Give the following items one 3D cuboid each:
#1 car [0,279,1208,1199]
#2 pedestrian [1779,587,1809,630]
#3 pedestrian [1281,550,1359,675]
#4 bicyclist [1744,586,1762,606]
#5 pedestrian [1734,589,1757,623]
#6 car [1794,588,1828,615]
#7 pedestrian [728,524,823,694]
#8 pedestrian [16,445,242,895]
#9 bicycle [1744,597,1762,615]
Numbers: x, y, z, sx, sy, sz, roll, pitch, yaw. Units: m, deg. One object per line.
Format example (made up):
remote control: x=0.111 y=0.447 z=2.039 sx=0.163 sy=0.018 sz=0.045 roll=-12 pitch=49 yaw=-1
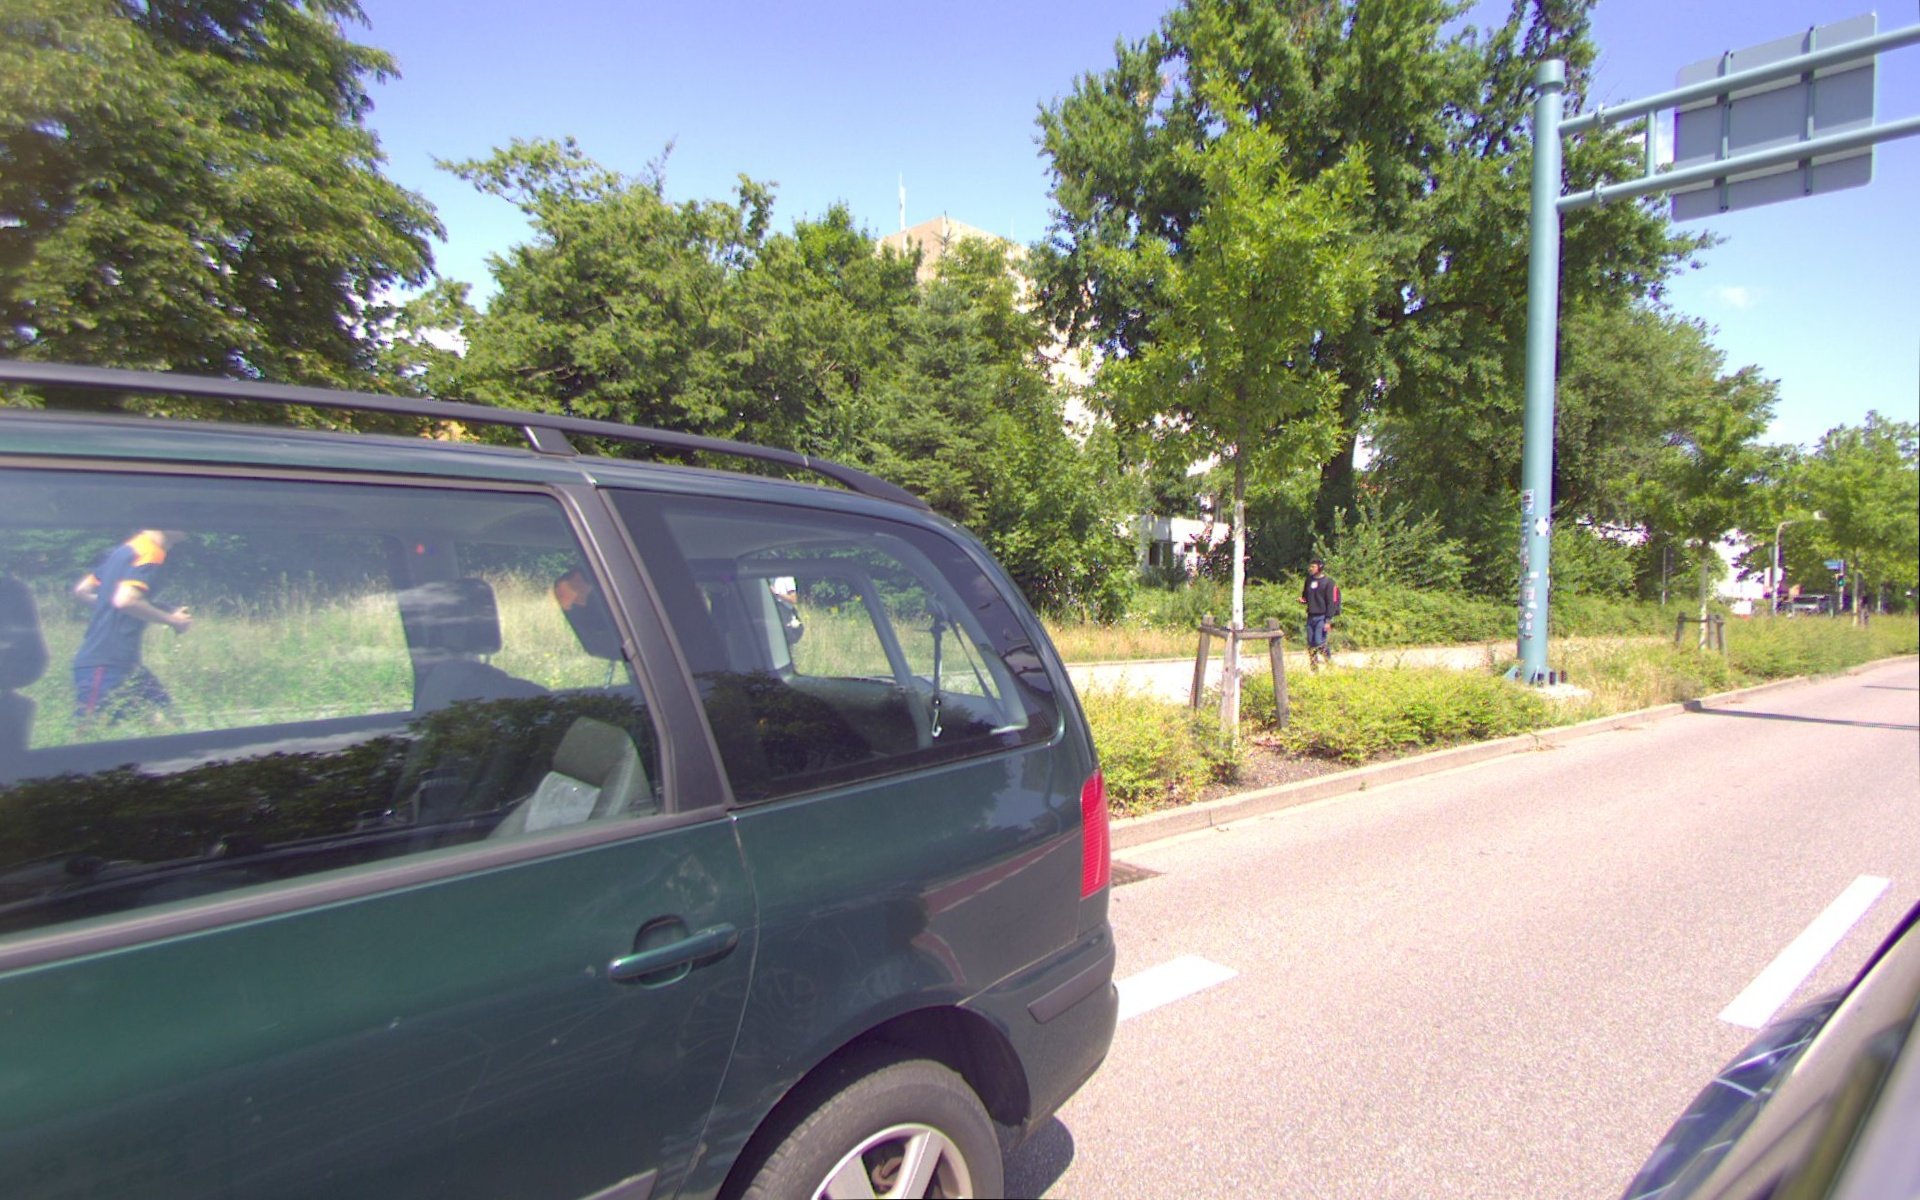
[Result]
car: x=-1.669 y=0.560 z=1.518 sx=4.311 sy=1.756 sz=1.815 roll=0 pitch=0 yaw=-41
pedestrian: x=34.932 y=0.342 z=42.386 sx=0.913 sy=1.743 sz=0.815 roll=0 pitch=1 yaw=-39
pedestrian: x=5.214 y=0.167 z=14.665 sx=0.822 sy=1.743 sz=0.718 roll=0 pitch=1 yaw=-39
bicyclist: x=58.005 y=-0.276 z=74.011 sx=0.968 sy=1.462 sz=1.060 roll=1 pitch=1 yaw=42
pedestrian: x=43.924 y=0.322 z=56.588 sx=0.967 sy=1.896 sz=0.866 roll=1 pitch=1 yaw=40
car: x=69.055 y=0.081 z=82.108 sx=1.992 sy=2.080 sz=4.166 roll=2 pitch=1 yaw=41
pedestrian: x=-1.984 y=0.087 z=10.875 sx=0.733 sy=1.743 sz=0.724 roll=0 pitch=1 yaw=-39
pedestrian: x=-4.018 y=0.288 z=4.918 sx=0.760 sy=1.916 sz=0.952 roll=1 pitch=0 yaw=-40
bicycle: x=58.080 y=0.447 z=74.124 sx=0.882 sy=1.267 sz=2.133 roll=1 pitch=1 yaw=41
